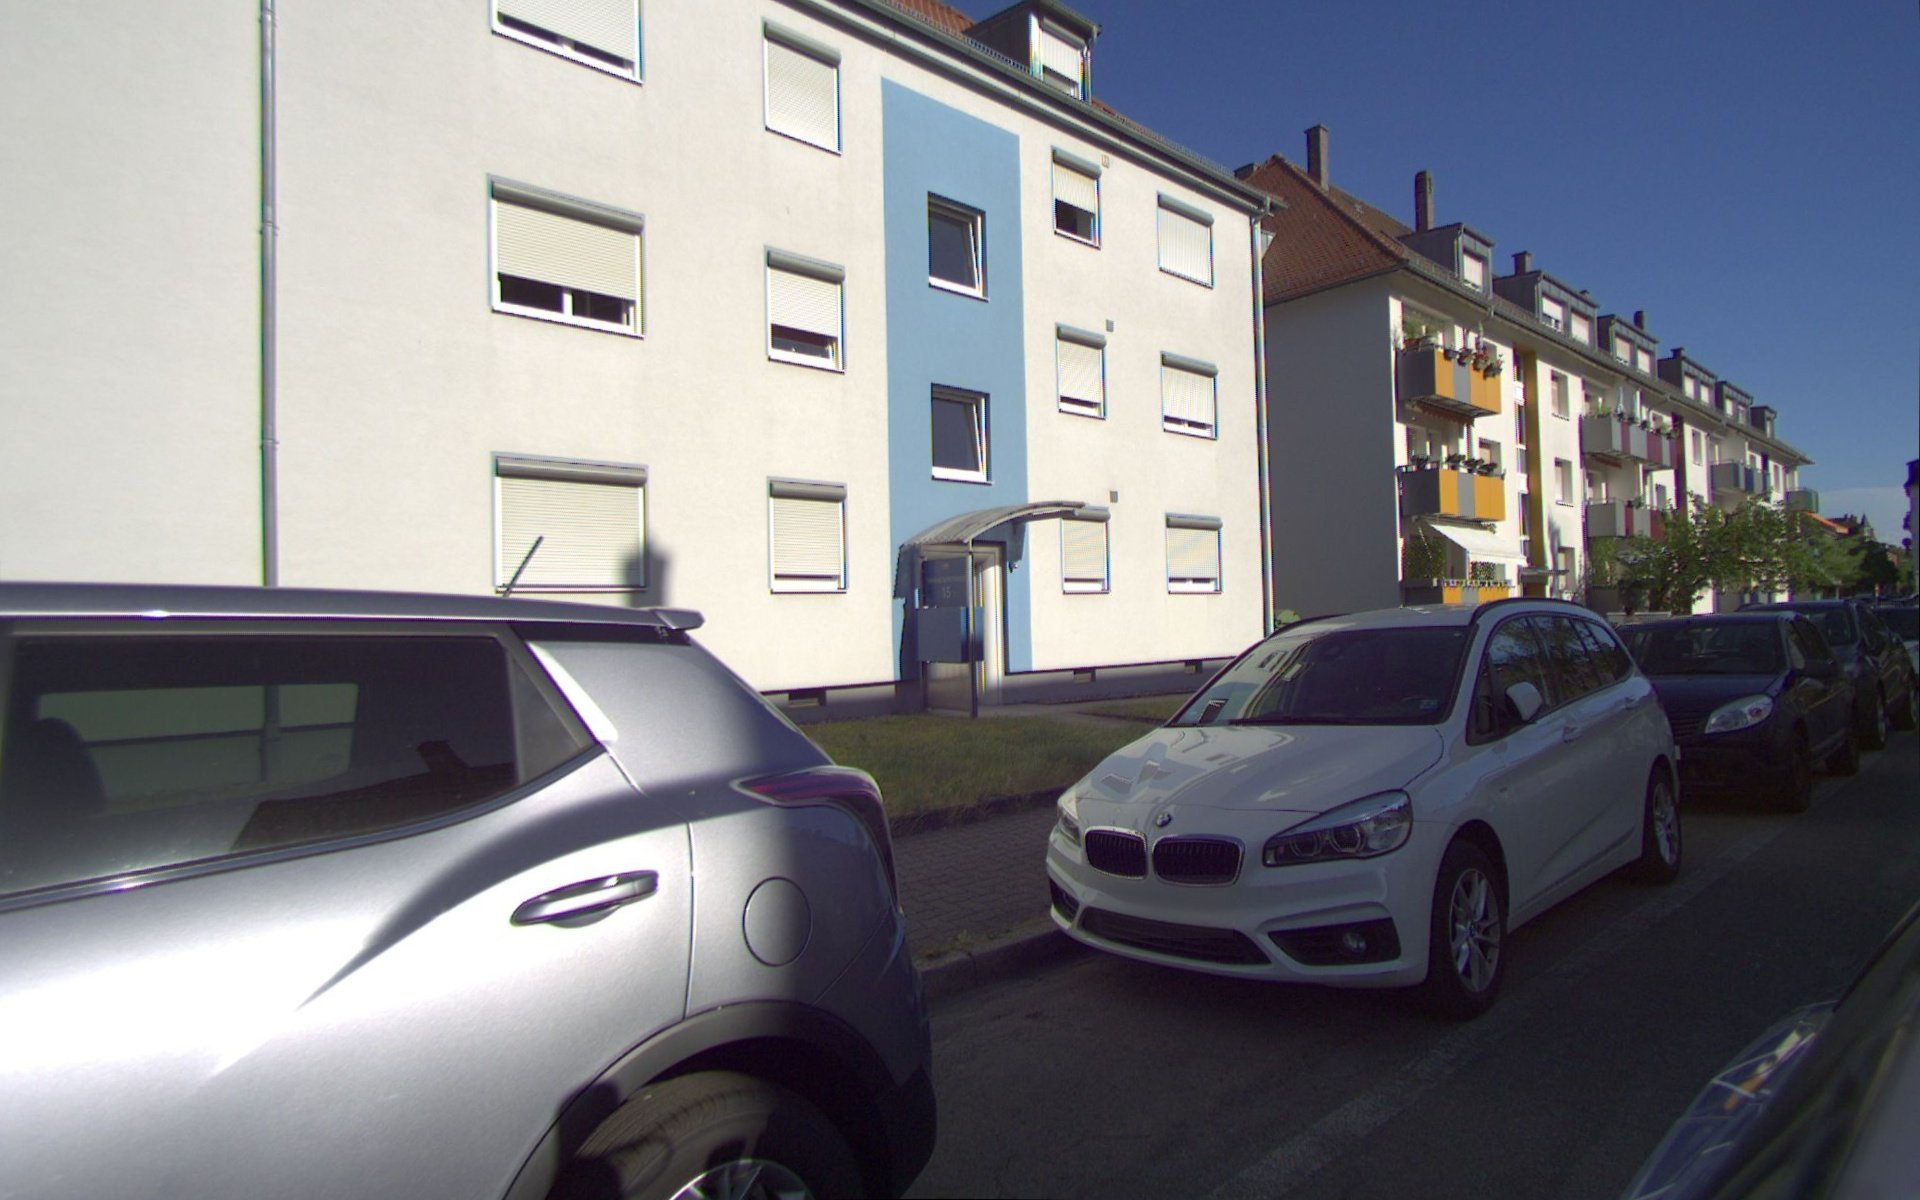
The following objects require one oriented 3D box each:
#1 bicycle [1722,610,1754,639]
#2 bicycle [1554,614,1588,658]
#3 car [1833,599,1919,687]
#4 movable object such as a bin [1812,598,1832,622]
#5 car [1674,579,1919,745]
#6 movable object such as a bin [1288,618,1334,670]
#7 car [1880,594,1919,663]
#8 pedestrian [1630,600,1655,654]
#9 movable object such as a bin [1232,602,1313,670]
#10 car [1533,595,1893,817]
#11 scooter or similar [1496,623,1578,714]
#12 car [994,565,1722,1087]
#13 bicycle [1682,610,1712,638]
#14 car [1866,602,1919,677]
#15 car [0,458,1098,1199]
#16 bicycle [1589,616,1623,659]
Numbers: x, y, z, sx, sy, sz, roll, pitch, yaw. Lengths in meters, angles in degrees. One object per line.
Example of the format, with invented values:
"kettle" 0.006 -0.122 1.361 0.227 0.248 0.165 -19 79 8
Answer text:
"bicycle" 29.533 0.920 38.402 2.248 1.062 0.521 0 0 -41
"bicycle" 16.546 0.974 27.396 1.250 1.147 0.403 0 -2 -41
"car" 17.835 0.767 19.042 2.886 1.549 1.483 0 -4 -37
"movable object such as a bin" 55.772 0.624 65.470 0.906 1.539 0.864 0 -1 -43
"car" 10.449 0.663 12.295 4.389 1.670 1.786 0 -3 -40
"movable object such as a bin" 7.610 0.941 21.939 0.744 1.047 0.644 -3 1 -41
"car" 24.880 0.648 25.311 4.905 1.634 1.997 0 -3 -39
"pedestrian" 19.357 0.768 28.704 0.354 1.514 0.451 -2 0 -40
"movable object such as a bin" 7.022 0.780 22.755 1.087 1.424 1.330 -3 1 -40
"car" 6.750 0.743 8.912 4.083 1.518 1.644 0 -2 -40
"scooter or similar" 8.047 0.922 14.088 1.561 1.163 0.484 0 1 -41
"car" 2.342 0.729 5.223 4.359 1.595 1.692 0 -3 -42
"bicycle" 28.775 0.905 39.490 1.940 1.050 0.521 0 -1 -41
"car" 20.980 0.792 21.820 3.916 1.511 1.695 0 -4 -42
"car" -1.889 0.716 1.529 4.377 1.639 1.751 0 -4 -43
"bicycle" 16.969 0.970 26.567 1.276 1.100 0.404 0 -1 -41
